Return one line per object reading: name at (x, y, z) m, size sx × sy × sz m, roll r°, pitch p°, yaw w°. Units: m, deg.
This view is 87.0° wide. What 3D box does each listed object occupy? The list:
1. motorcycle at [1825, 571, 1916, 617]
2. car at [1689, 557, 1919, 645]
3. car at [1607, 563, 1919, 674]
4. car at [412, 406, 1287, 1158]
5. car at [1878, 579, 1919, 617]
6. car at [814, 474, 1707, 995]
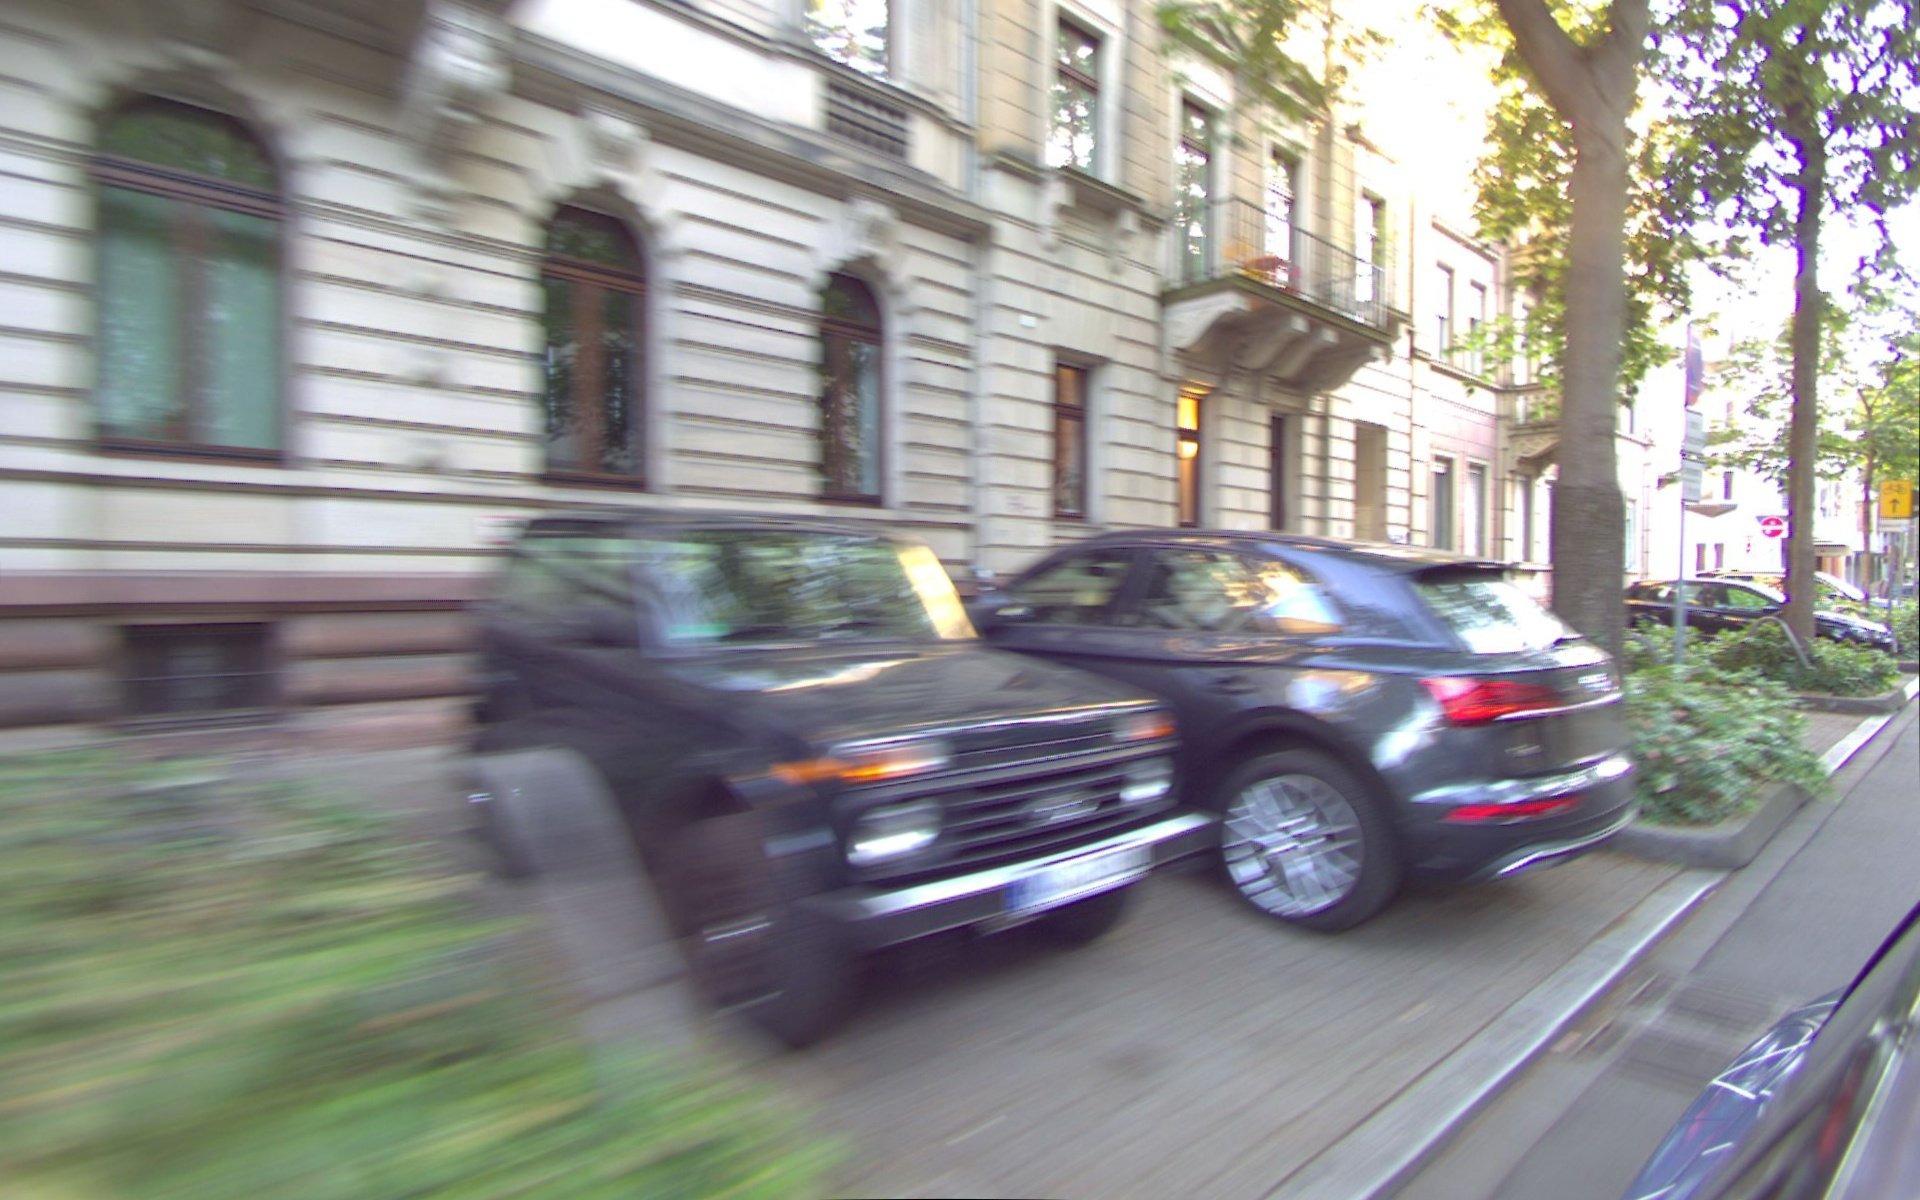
motorcycle at (31.599, -0.213, 35.181) m, size 2.230 × 1.565 × 0.765 m, roll -1°, pitch 1°, yaw 33°
car at (18.650, -0.022, 21.732) m, size 1.831 × 1.580 × 4.430 m, roll 1°, pitch 4°, yaw -35°
car at (13.306, 0.223, 16.871) m, size 1.752 × 1.445 × 3.871 m, roll 0°, pitch 4°, yaw -43°
car at (-0.872, 0.365, 4.380) m, size 1.734 × 1.708 × 4.014 m, roll 1°, pitch 1°, yaw -42°
car at (44.014, -0.114, 45.284) m, size 1.563 × 1.697 × 4.160 m, roll 0°, pitch -1°, yaw -42°
car at (1.232, 0.334, 5.676) m, size 1.935 × 1.738 × 4.447 m, roll -2°, pitch 4°, yaw -42°
